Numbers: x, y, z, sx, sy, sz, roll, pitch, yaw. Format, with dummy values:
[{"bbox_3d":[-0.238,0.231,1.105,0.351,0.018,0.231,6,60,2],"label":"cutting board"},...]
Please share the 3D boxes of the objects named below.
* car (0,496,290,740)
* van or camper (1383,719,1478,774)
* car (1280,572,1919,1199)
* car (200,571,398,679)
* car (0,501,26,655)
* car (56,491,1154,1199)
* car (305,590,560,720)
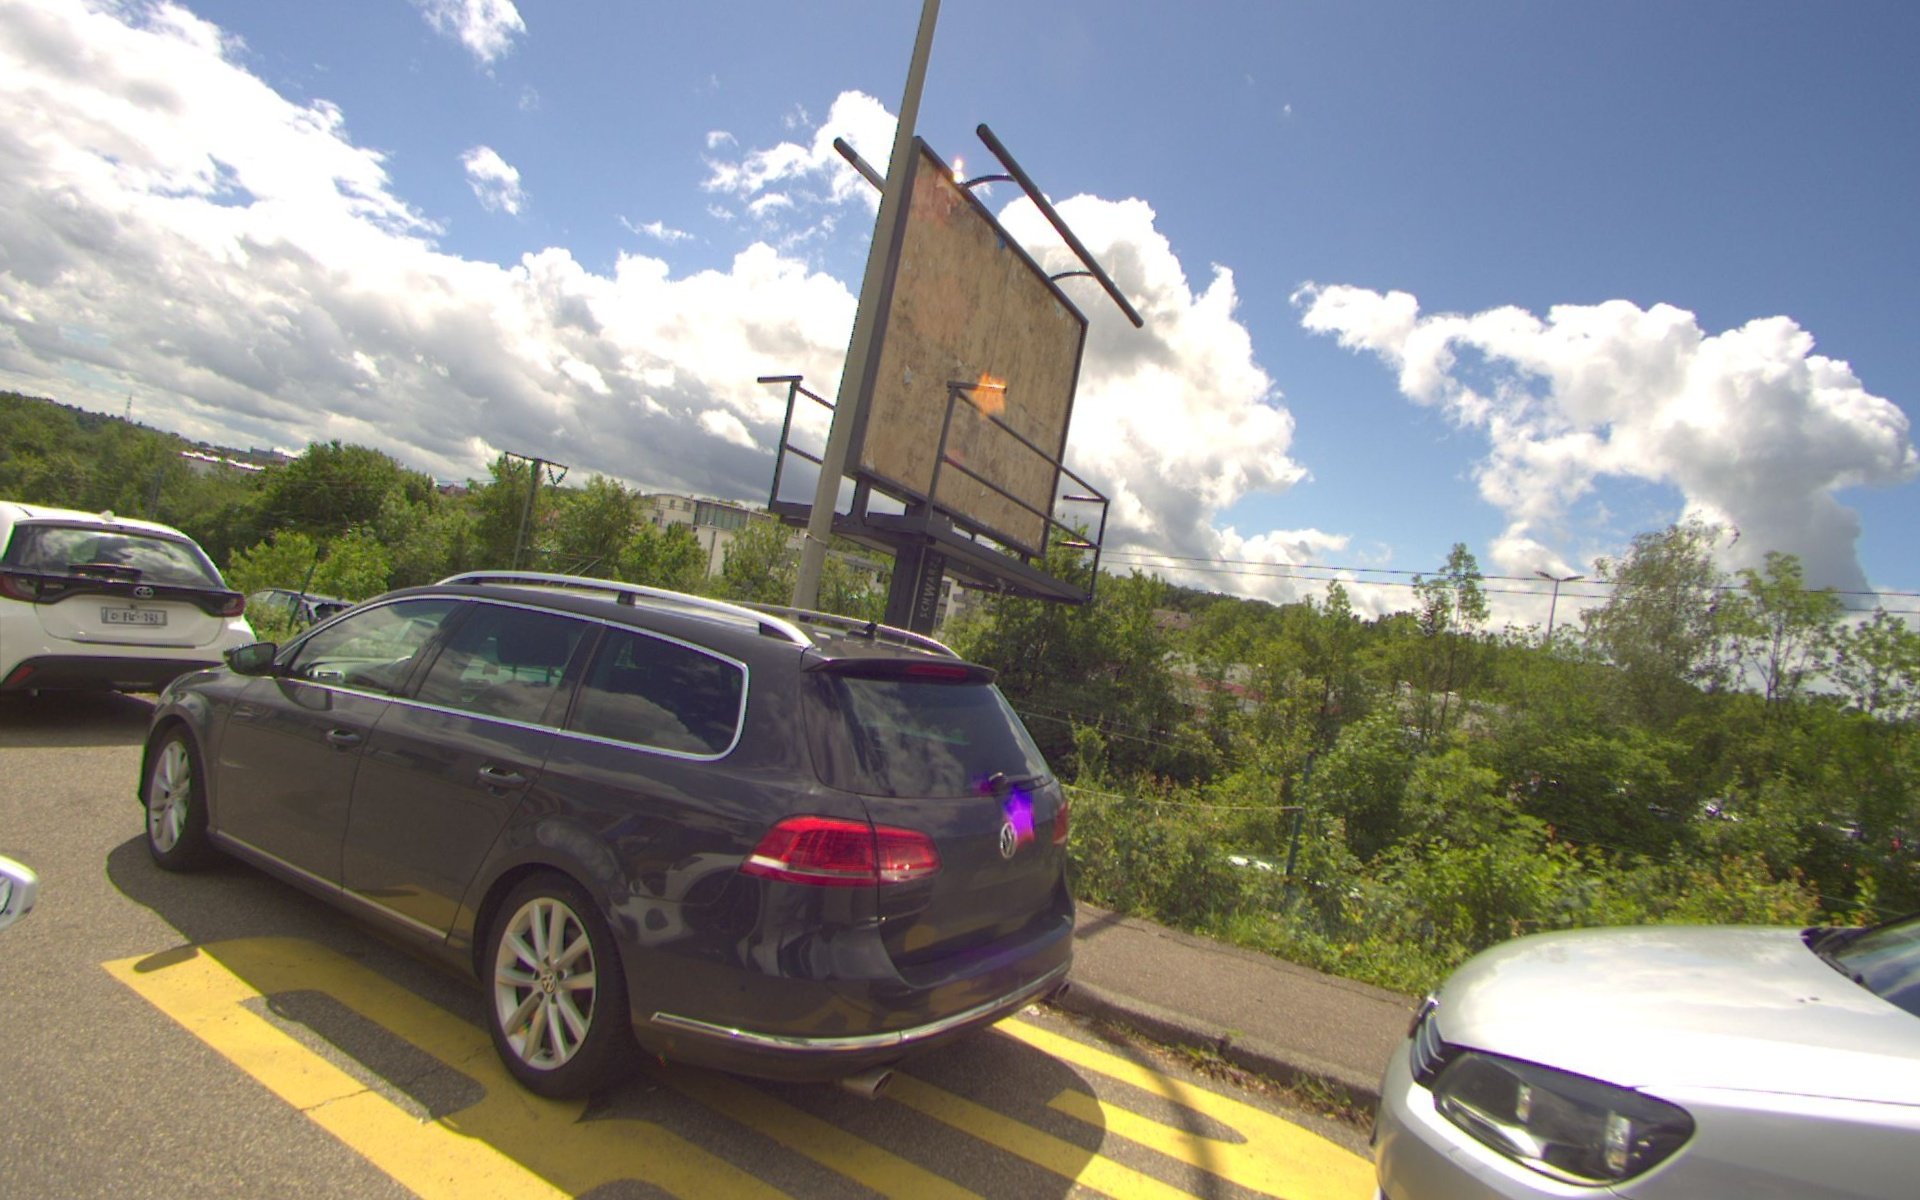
[{"bbox_3d":[-7.255,-0.016,7.794,3.890,1.495,1.711,8,-3,29],"label":"car"},{"bbox_3d":[31.404,9.767,67.233,5.226,2.720,1.924,6,-4,39],"label":"van or camper"},{"bbox_3d":[2.878,1.129,1.566,4.235,1.696,1.710,8,-3,31],"label":"car"},{"bbox_3d":[-13.173,0.488,20.027,3.633,1.527,1.711,8,-3,31],"label":"car"},{"bbox_3d":[-11.550,-0.514,10.372,3.633,1.527,1.711,8,-3,31],"label":"car"},{"bbox_3d":[-1.704,0.599,4.233,4.495,1.503,1.711,8,-3,31],"label":"car"},{"bbox_3d":[-9.289,0.939,17.628,4.453,1.527,1.711,8,-3,31],"label":"car"}]
